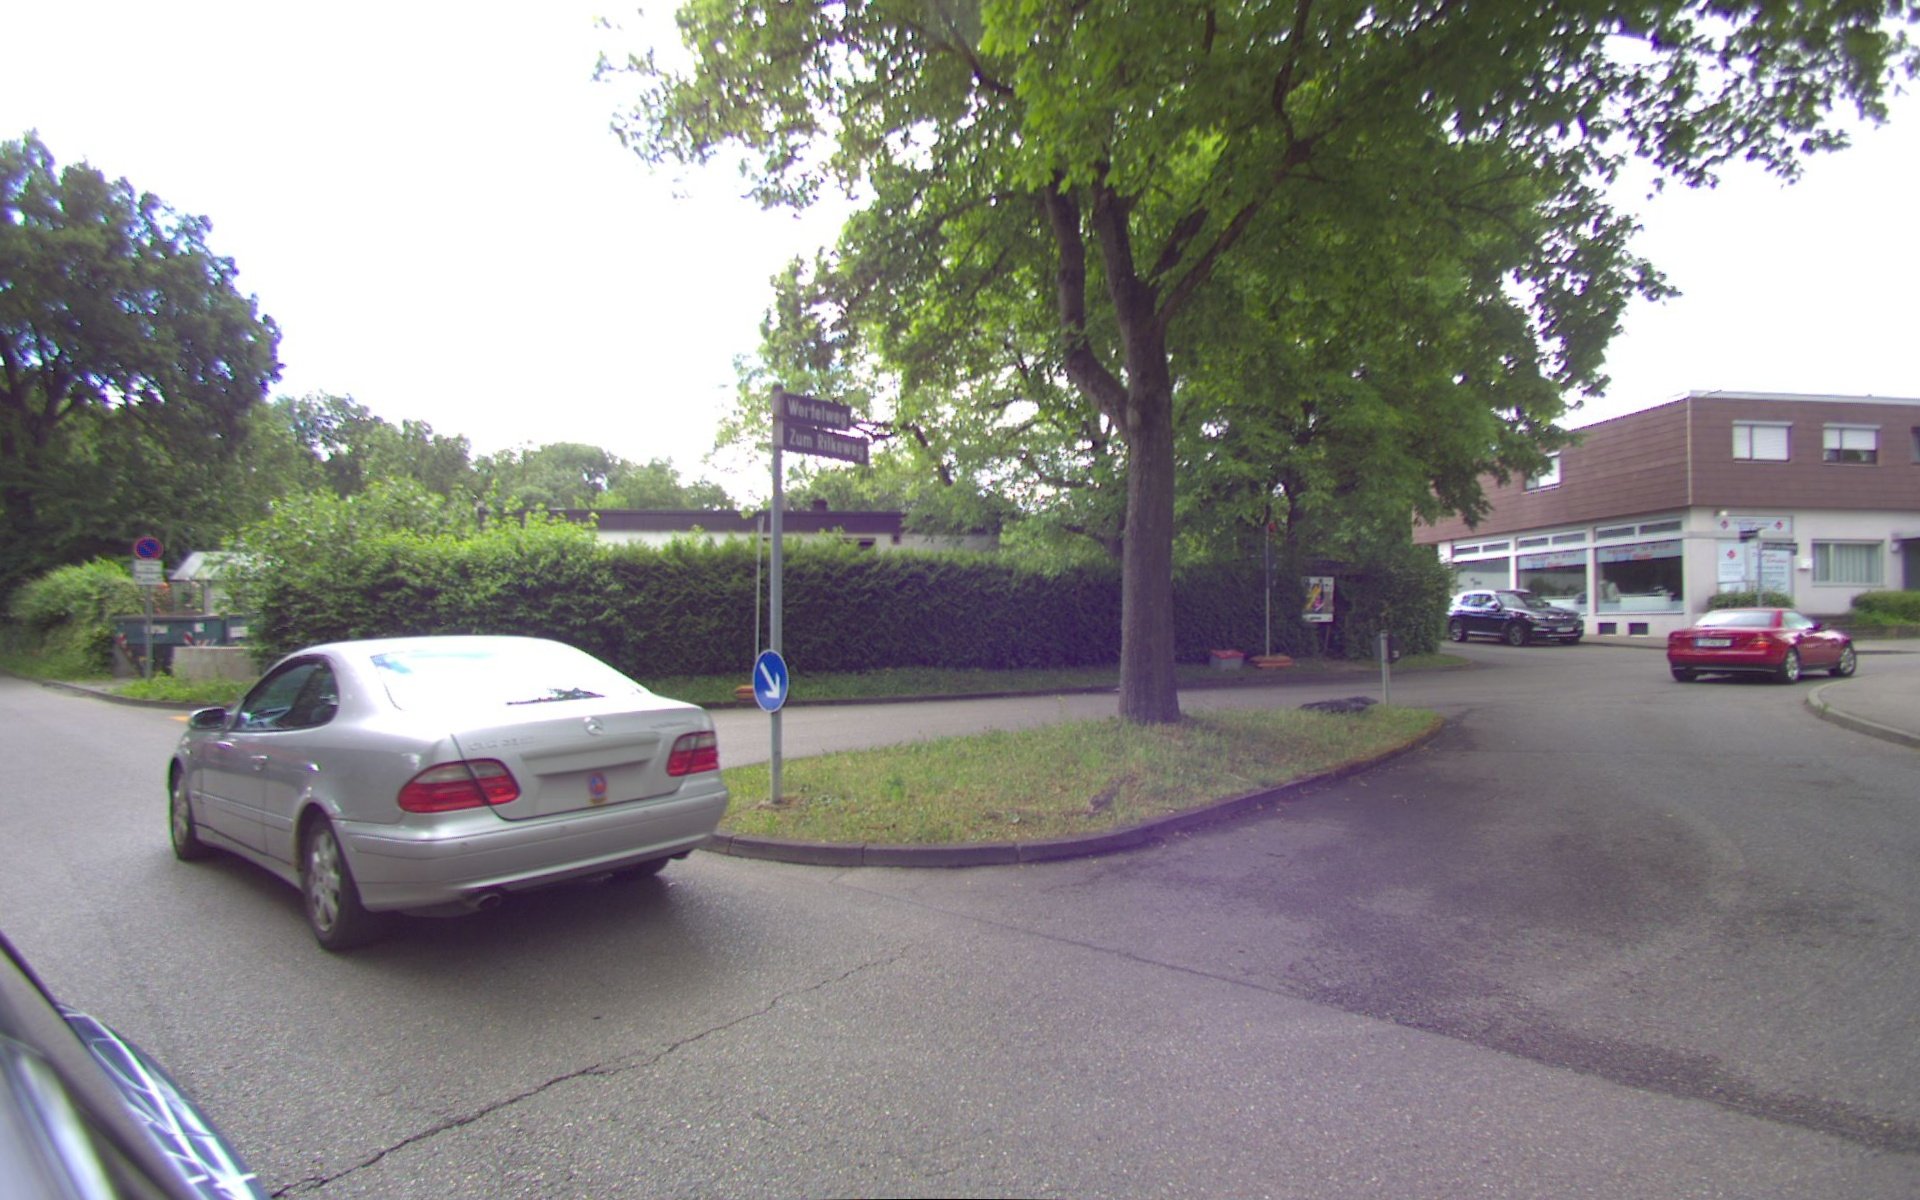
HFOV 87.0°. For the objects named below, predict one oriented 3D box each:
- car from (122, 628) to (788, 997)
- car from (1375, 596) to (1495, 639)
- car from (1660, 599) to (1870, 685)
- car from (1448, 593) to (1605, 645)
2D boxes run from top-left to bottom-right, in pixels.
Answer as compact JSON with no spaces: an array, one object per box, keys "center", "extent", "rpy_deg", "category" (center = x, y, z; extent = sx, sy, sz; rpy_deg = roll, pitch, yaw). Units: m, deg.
[{"center":[-3.082,0.839,5.747],"extent":[4.291,1.316,1.764],"rpy_deg":[-2,-1,39],"category":"car"},{"center":[16.820,0.617,36.079],"extent":[1.943,1.386,4.007],"rpy_deg":[-2,-1,-8],"category":"car"},{"center":[14.192,0.684,17.789],"extent":[3.997,1.346,1.761],"rpy_deg":[0,-1,-34],"category":"car"},{"center":[17.049,0.588,30.749],"extent":[1.969,1.386,4.285],"rpy_deg":[-2,-1,-6],"category":"car"}]
